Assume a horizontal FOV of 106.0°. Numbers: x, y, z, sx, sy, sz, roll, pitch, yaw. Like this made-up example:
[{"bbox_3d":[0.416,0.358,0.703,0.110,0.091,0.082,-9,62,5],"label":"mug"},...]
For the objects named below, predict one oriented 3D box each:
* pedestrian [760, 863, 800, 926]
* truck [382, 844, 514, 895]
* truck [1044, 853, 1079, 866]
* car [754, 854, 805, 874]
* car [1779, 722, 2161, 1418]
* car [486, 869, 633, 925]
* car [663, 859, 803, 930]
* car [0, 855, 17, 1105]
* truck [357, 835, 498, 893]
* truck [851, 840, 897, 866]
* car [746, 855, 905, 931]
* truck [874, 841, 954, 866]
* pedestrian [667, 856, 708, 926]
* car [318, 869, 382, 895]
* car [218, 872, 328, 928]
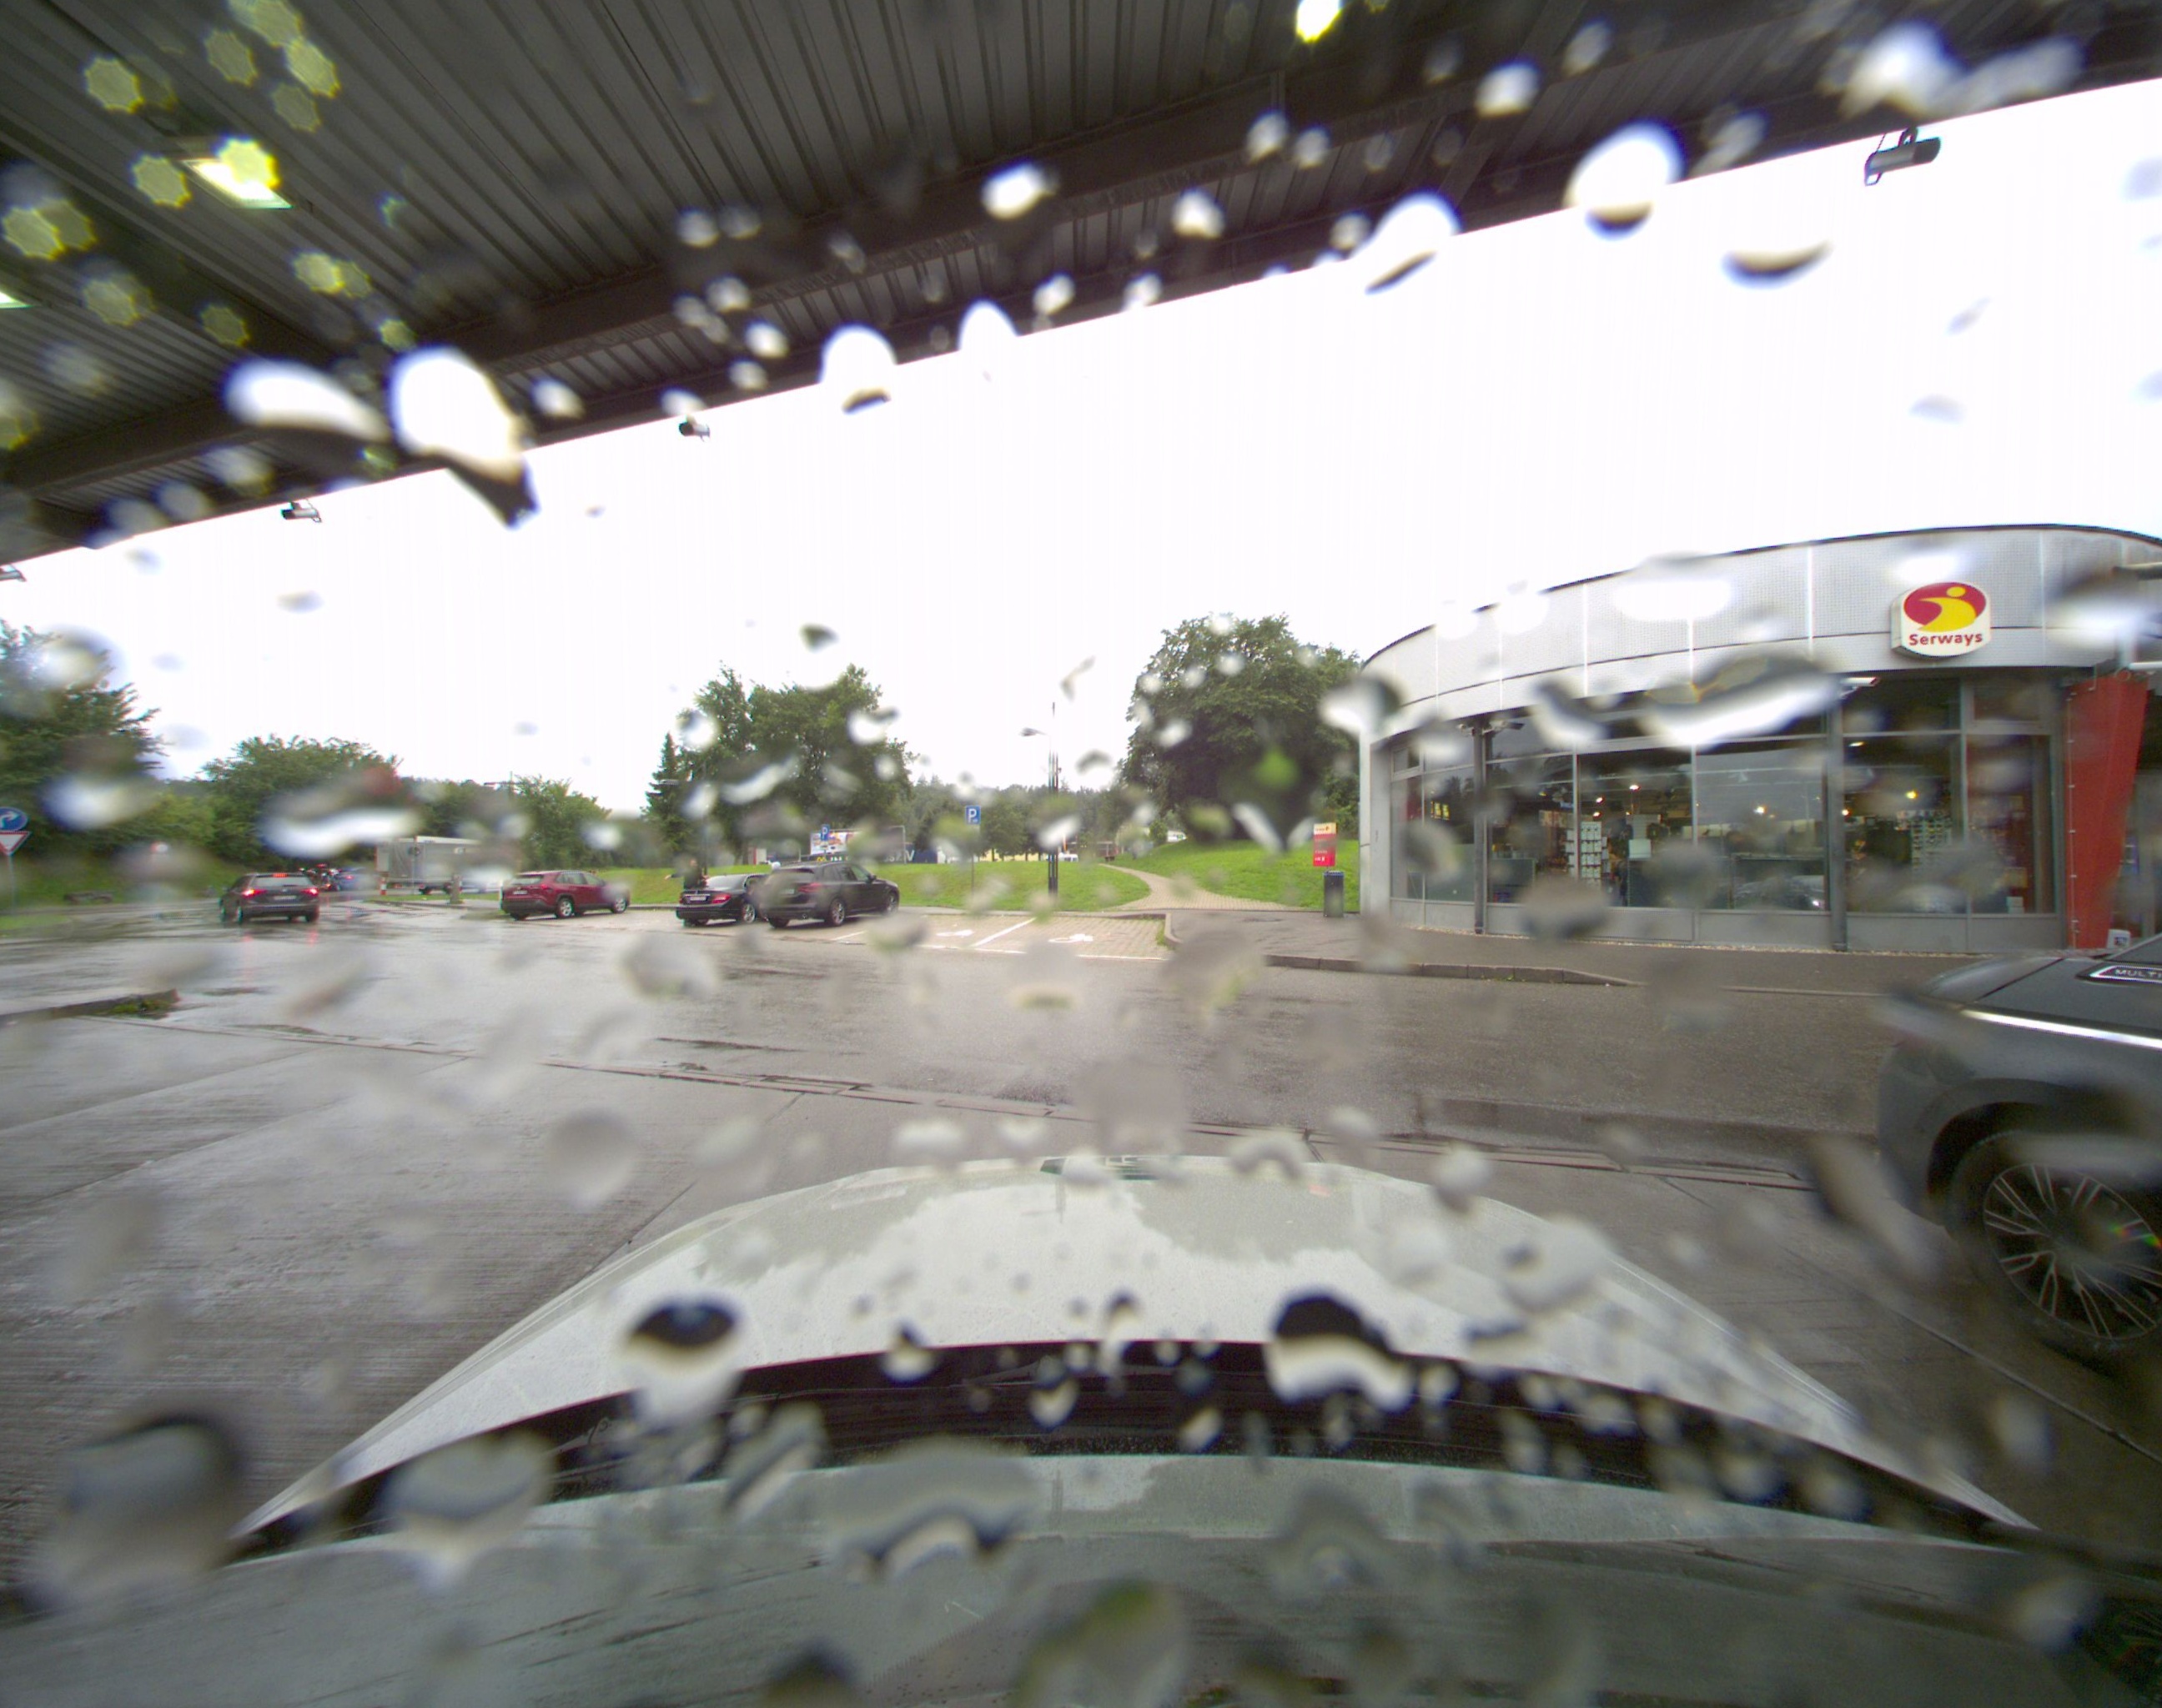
[{"bbox_3d":[-8.012,1.047,21.688,0.955,1.631,0.698,0,-1,-24],"label":"pedestrian"},{"bbox_3d":[-41.000,0.954,53.106,2.466,3.085,7.364,0,-1,4],"label":"truck"},{"bbox_3d":[-3.240,0.871,134.123,5.356,2.014,2.381,-1,-1,26],"label":"truck"},{"bbox_3d":[-27.656,0.910,74.727,4.153,1.783,1.825,0,-1,-34],"label":"car"},{"bbox_3d":[3.670,0.541,0.695,1.854,1.798,5.142,0,-1,2],"label":"car"},{"bbox_3d":[-18.139,1.435,28.612,1.928,1.644,4.352,-2,0,7],"label":"car"},{"bbox_3d":[-9.837,1.076,23.443,2.010,1.711,4.344,-2,0,1],"label":"car"},{"bbox_3d":[-7.972,0.798,2.695,1.854,1.608,5.273,0,-1,2],"label":"car"},{"bbox_3d":[-55.443,0.824,70.000,3.550,4.340,16.899,0,-1,-18],"label":"truck"},{"bbox_3d":[-24.181,-0.097,95.475,2.165,2.920,5.419,-1,-1,27],"label":"truck"},{"bbox_3d":[-6.652,0.966,21.798,2.002,1.711,4.360,-2,0,14],"label":"car"},{"bbox_3d":[-20.747,-0.065,102.366,2.165,2.920,13.175,-1,-1,26],"label":"truck"},{"bbox_3d":[-10.884,1.014,22.518,0.882,1.887,0.708,-1,-1,38],"label":"pedestrian"},{"bbox_3d":[-50.343,1.865,56.195,1.814,1.681,3.927,0,-1,-18],"label":"car"},{"bbox_3d":[-26.918,1.479,27.100,3.948,1.678,2.013,-2,-1,37],"label":"car"}]
